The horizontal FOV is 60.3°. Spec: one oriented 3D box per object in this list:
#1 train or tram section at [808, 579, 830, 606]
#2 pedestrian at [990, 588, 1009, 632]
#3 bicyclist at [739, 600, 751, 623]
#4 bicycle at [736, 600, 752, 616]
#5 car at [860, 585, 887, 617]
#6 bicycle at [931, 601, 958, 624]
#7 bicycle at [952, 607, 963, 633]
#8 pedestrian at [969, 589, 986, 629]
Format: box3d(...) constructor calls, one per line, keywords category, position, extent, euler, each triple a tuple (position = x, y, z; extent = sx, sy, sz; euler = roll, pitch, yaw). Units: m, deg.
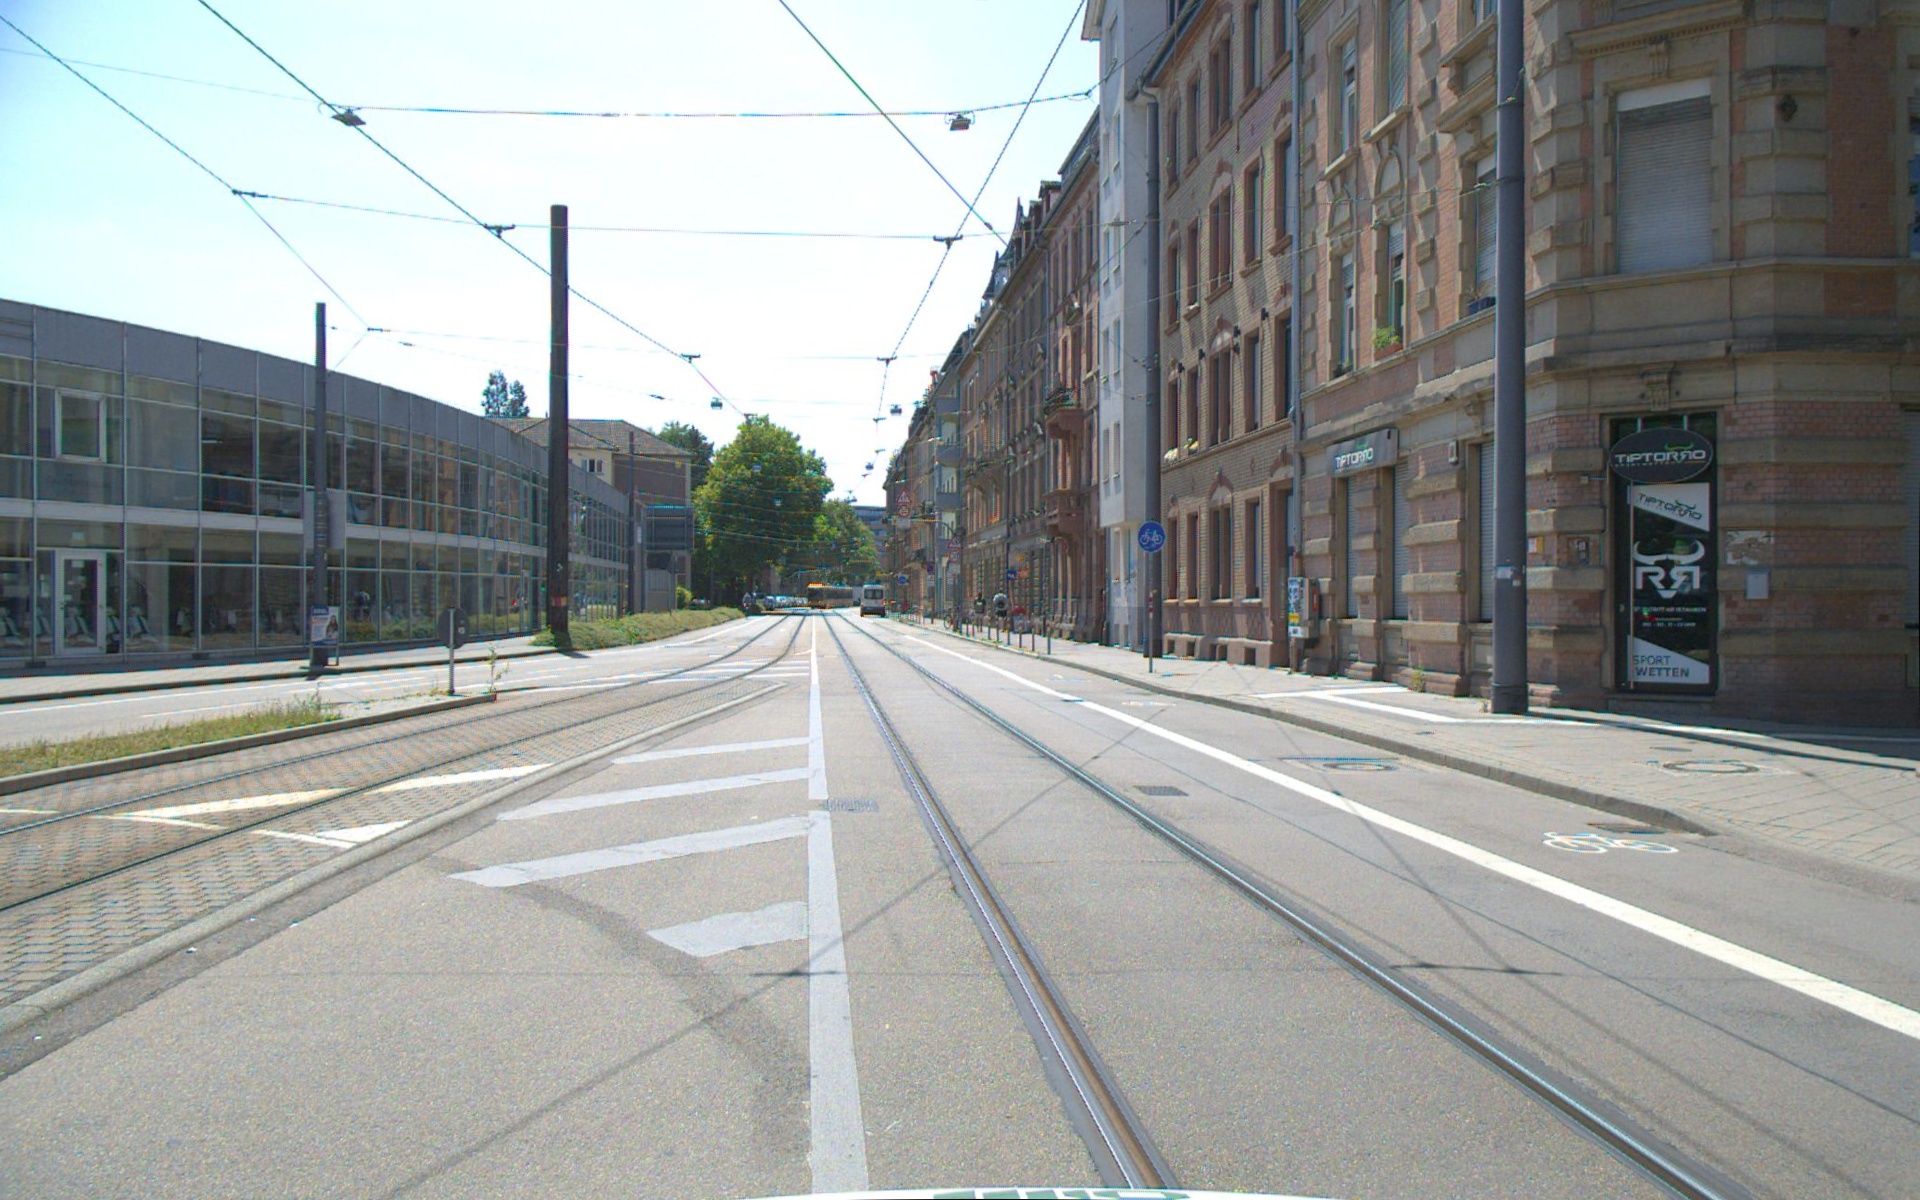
box3d(category="train or tram section", position=(-19.565, -0.988, 228.929), extent=(2.903, 3.643, 13.407), euler=(0, 0, -5))
box3d(category="pedestrian", position=(1.750, 0.450, 73.431), extent=(0.689, 1.881, 0.643), euler=(-4, 0, -4))
box3d(category="bicyclist", position=(-15.152, 0.823, 116.638), extent=(0.683, 1.575, 0.980), euler=(0, 0, 3))
box3d(category="bicycle", position=(-15.171, 0.553, 116.450), extent=(0.683, 1.164, 2.496), euler=(0, 0, 3))
box3d(category="car", position=(-7.130, 0.039, 136.110), extent=(2.026, 2.544, 5.449), euler=(1, 0, -4))
box3d(category="bicycle", position=(-0.775, 0.617, 82.375), extent=(0.489, 1.150, 2.242), euler=(-1, 0, 23))
box3d(category="bicycle", position=(-0.108, 0.896, 74.906), extent=(0.438, 1.116, 2.423), euler=(-1, 0, 0))
box3d(category="pedestrian", position=(0.769, 0.393, 73.506), extent=(0.706, 1.750, 0.643), euler=(0, 0, -4))
